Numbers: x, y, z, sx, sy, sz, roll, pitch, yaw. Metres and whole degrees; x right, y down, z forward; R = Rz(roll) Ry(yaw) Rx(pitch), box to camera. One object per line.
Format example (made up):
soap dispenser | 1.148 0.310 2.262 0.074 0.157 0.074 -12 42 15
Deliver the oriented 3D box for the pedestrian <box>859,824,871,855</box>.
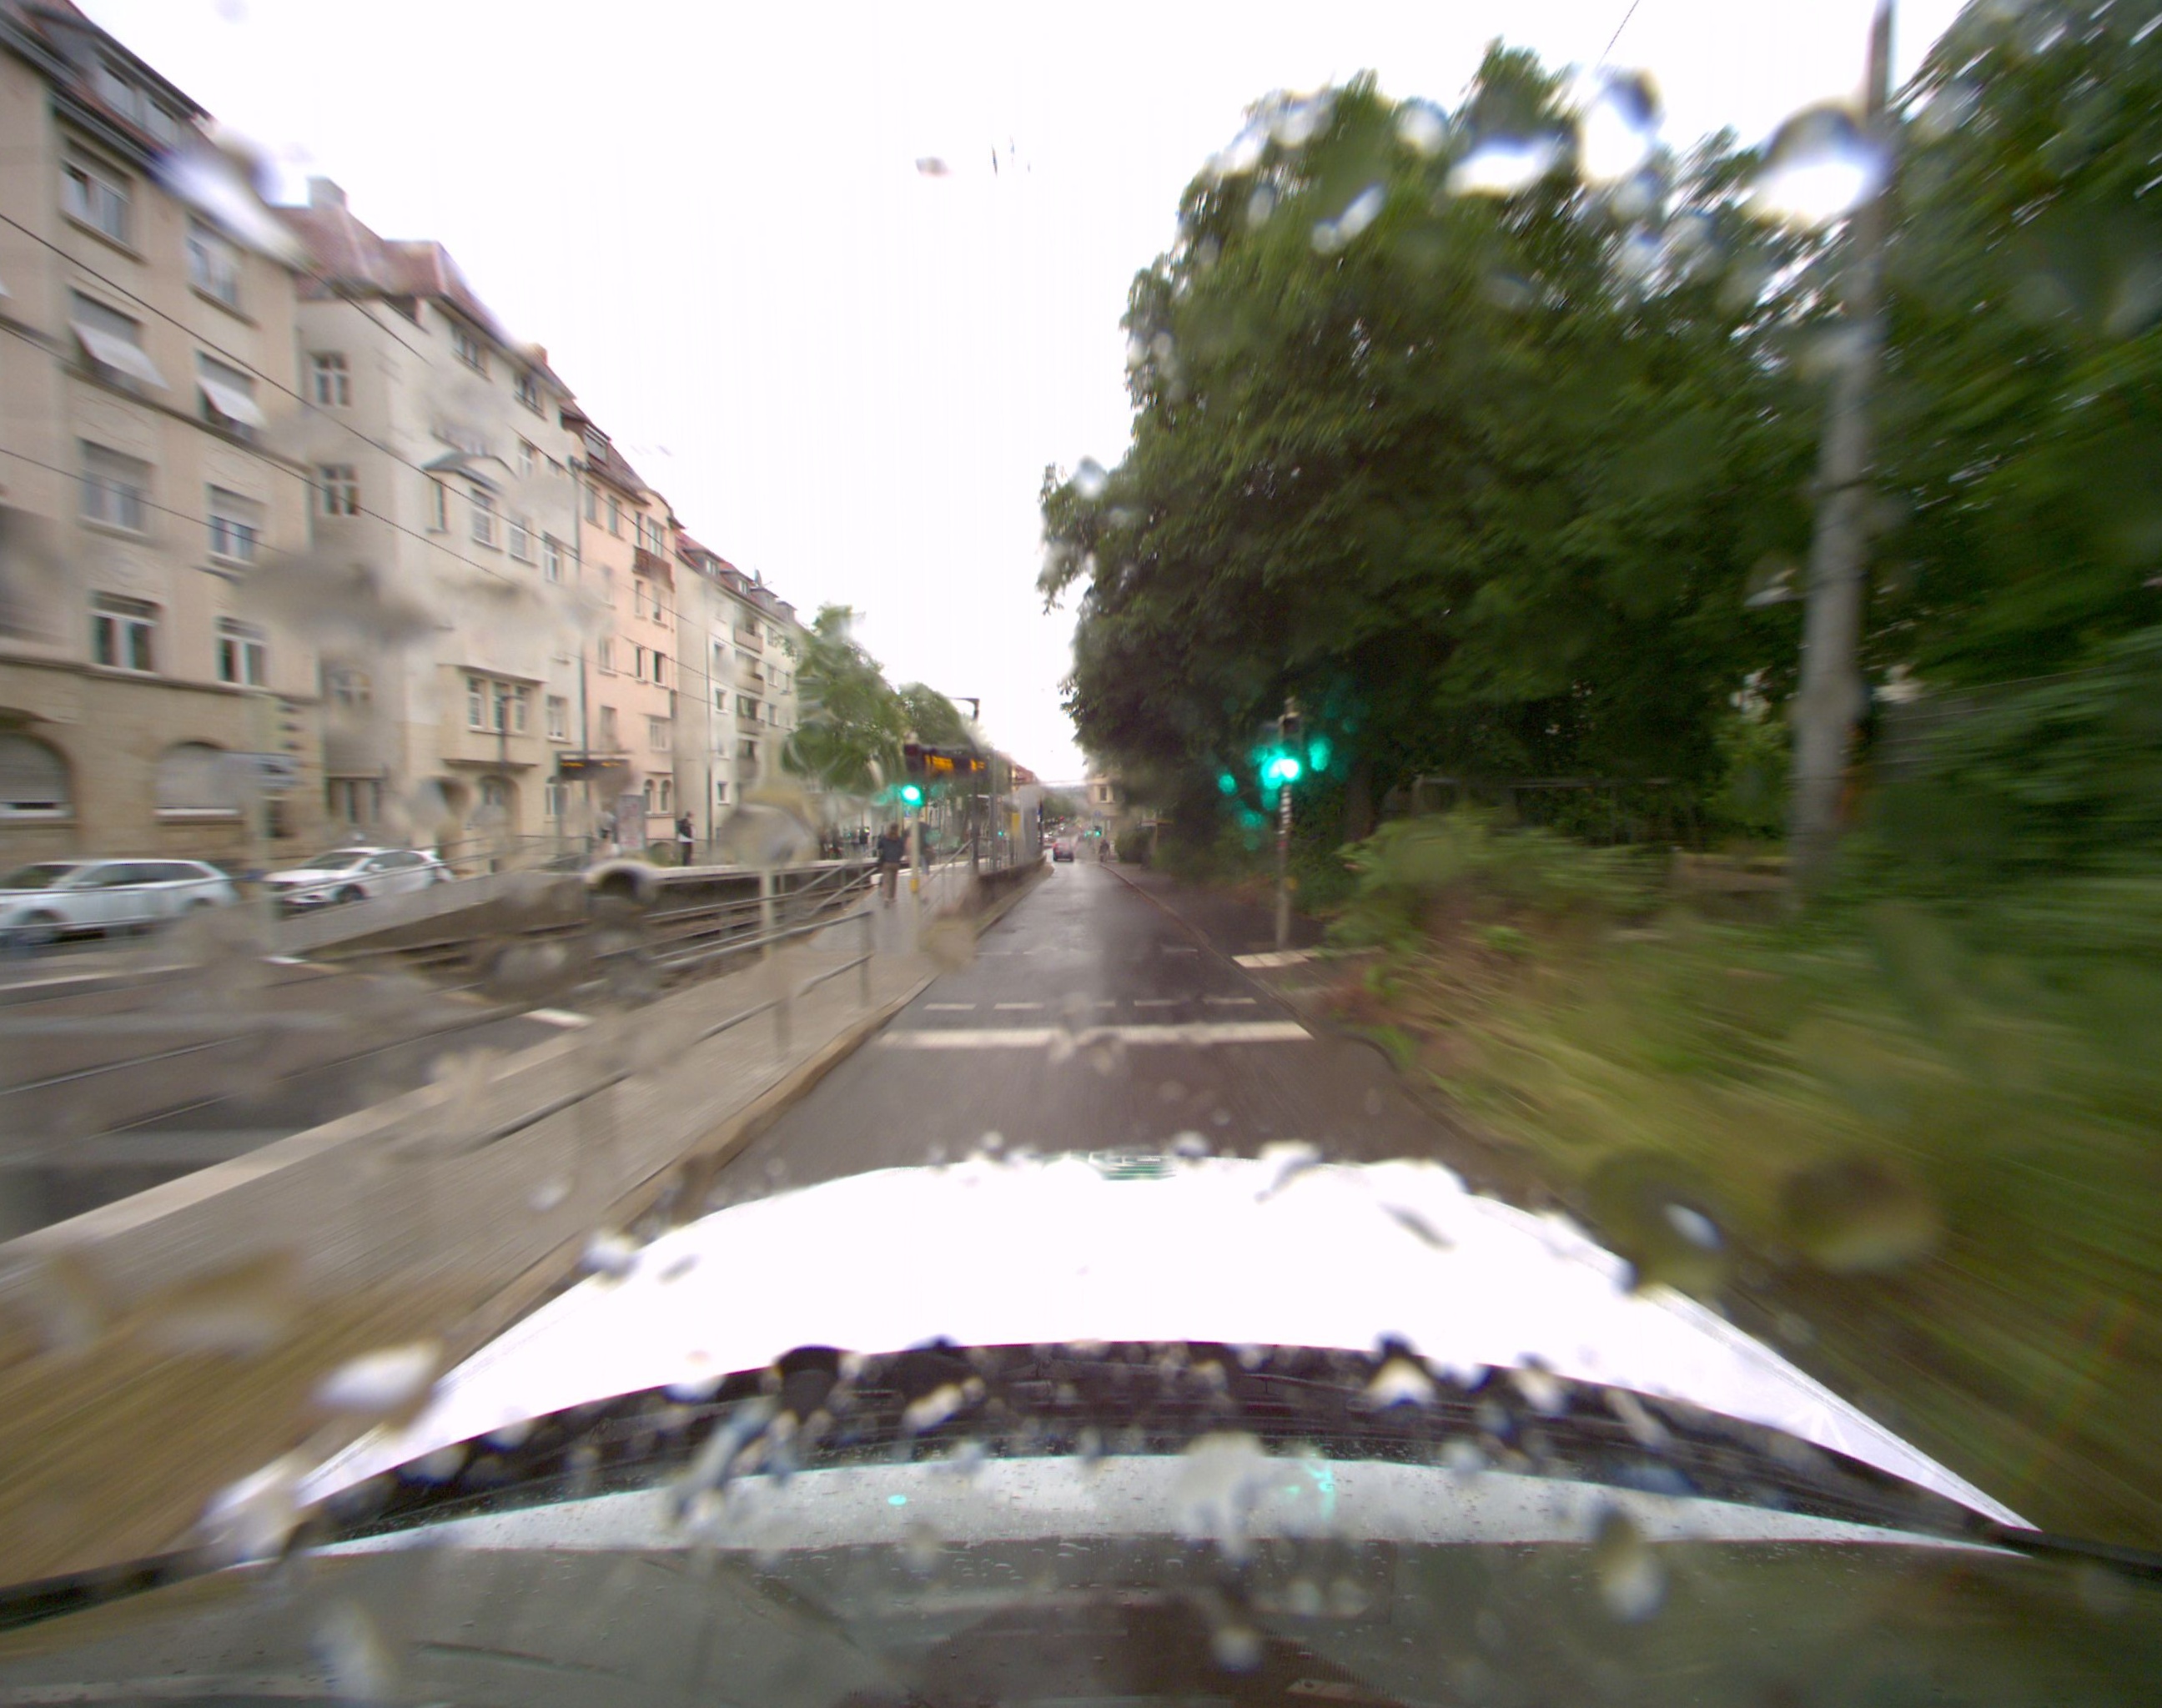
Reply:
pedestrian | -12.489 -0.822 47.145 0.481 1.741 0.563 -2 0 0

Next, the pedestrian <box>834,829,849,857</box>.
pedestrian | -12.305 -0.571 41.830 0.548 1.413 0.614 -2 0 0

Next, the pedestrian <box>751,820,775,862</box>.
pedestrian | -12.844 -0.523 32.868 0.592 1.666 0.762 -2 0 0

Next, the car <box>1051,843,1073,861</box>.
car | -1.671 -0.218 71.749 1.846 1.473 3.999 -1 1 -1

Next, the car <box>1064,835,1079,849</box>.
car | -1.294 -1.536 106.233 1.943 1.792 4.142 0 1 -2

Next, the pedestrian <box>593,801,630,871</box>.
pedestrian | -12.640 -0.478 21.917 0.559 1.850 0.598 -2 0 0

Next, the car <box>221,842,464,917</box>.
car | -18.610 0.561 20.897 1.916 1.622 4.537 -2 1 2

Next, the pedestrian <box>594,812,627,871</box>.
pedestrian | -12.991 -0.346 22.491 0.514 1.605 0.563 -2 0 0

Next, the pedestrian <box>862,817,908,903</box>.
pedestrian | -3.734 0.095 15.547 0.648 1.561 0.684 -1 6 0

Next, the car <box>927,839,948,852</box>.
car | -17.530 -1.067 99.679 1.720 1.515 4.498 -1 2 1

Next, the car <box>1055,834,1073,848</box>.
car | -1.866 -1.359 87.566 1.847 1.473 3.998 0 1 -2

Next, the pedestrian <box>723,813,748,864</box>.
pedestrian | -12.867 -0.573 30.331 0.514 1.838 0.762 -2 0 0

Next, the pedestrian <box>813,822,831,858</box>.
pedestrian | -12.290 -0.650 38.647 0.592 1.666 0.591 -2 0 0

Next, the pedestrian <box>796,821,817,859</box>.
pedestrian | -12.236 -0.632 36.298 0.592 1.666 0.762 -2 0 0

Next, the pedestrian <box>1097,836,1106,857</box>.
pedestrian | 1.730 -0.615 67.705 0.693 1.695 0.555 -1 1 -3

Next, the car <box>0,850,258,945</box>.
car | -18.775 0.727 15.266 1.987 1.533 4.533 1 0 1

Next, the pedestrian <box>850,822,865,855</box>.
pedestrian | -11.828 -0.816 43.086 0.548 1.741 0.614 -2 0 0

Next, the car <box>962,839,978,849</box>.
car | -16.896 -1.566 123.759 1.767 1.453 4.255 -3 1 0

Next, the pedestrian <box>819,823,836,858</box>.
pedestrian | -12.391 -0.655 39.773 0.548 1.666 0.614 -2 0 0

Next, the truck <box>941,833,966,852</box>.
truck | -17.123 -1.593 109.835 2.042 2.392 6.327 -1 1 3

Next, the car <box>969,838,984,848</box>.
car | -16.843 -1.752 131.004 1.767 1.546 4.255 -3 1 0

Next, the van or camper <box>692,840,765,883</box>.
van or camper | -18.152 0.329 42.163 1.987 2.013 3.999 -2 1 -1

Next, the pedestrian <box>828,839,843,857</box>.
pedestrian | -12.330 -0.292 40.933 0.548 0.872 0.614 -2 0 0

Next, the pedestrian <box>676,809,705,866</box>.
pedestrian | -12.843 -0.544 26.791 0.514 1.838 0.762 -2 0 0

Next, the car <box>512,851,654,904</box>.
car | -17.983 0.785 29.728 1.985 1.732 4.817 -2 0 3

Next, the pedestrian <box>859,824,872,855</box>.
pedestrian | -12.309 -0.825 46.557 0.481 1.741 0.563 -2 0 0

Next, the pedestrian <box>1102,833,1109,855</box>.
pedestrian | 2.056 -0.815 68.335 0.552 1.813 0.650 -1 1 -3

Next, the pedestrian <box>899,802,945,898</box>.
pedestrian | -3.086 -0.100 15.889 0.648 1.782 0.848 -1 6 0

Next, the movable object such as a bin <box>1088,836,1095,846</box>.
movable object such as a bin | 1.772 -2.154 139.649 1.165 1.655 1.308 -2 1 -4

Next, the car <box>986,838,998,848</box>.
car | -16.481 -2.050 151.129 1.767 1.619 4.256 -3 1 1
